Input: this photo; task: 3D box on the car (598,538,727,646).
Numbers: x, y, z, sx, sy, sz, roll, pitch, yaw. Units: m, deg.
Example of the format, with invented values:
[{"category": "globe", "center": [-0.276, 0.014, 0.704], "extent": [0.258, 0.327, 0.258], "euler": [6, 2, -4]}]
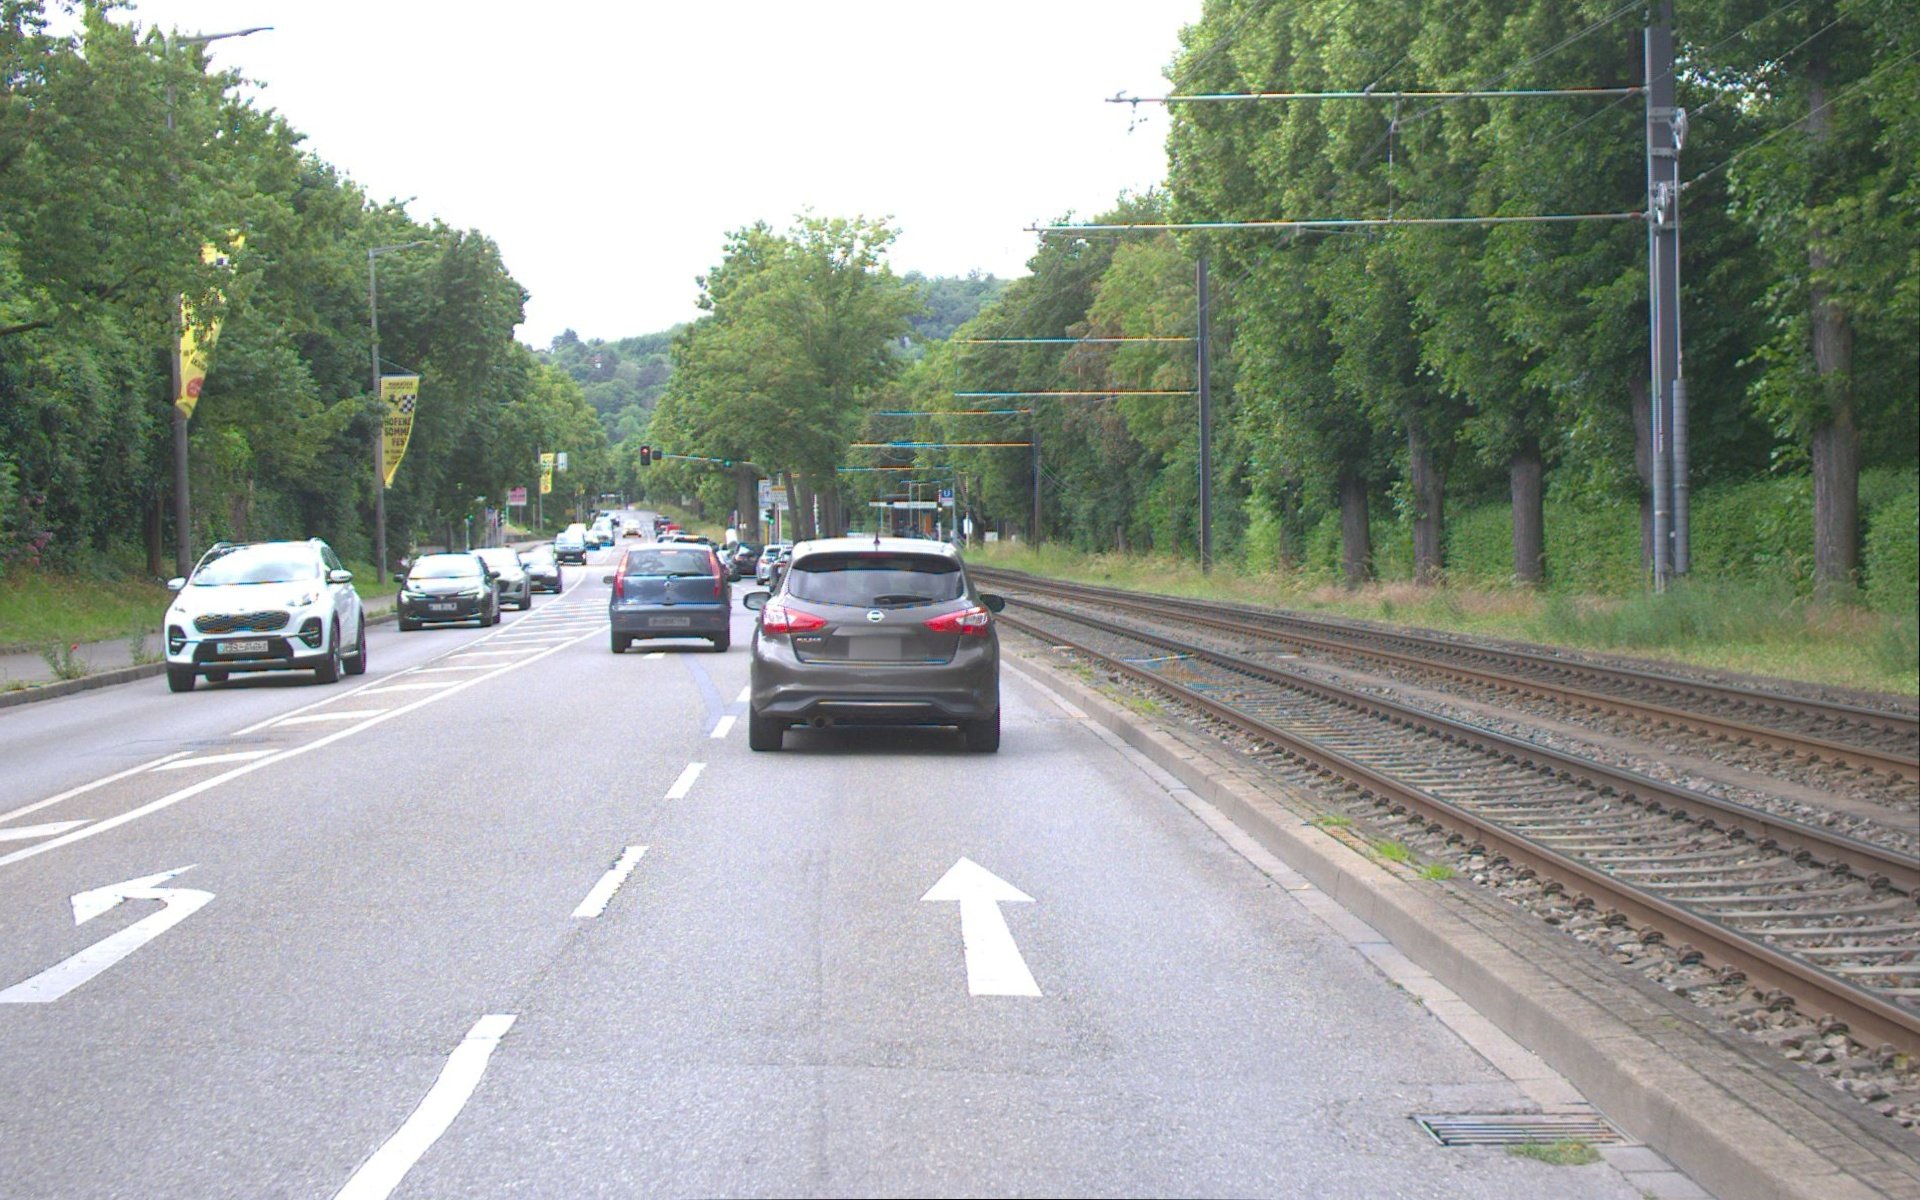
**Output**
[{"category": "car", "center": [-4.111, -0.144, 47.881], "extent": [1.699, 1.438, 4.001], "euler": [0, 1, -4]}]

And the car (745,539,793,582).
[{"category": "car", "center": [-6.975, -1.436, 125.820], "extent": [1.715, 1.545, 4.000], "euler": [0, 0, -2]}]

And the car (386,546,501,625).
[{"category": "car", "center": [-9.967, -0.306, 66.590], "extent": [1.766, 1.395, 4.216], "euler": [-3, 1, -3]}]

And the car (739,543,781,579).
[{"category": "car", "center": [-8.567, -1.661, 147.783], "extent": [1.715, 1.545, 4.000], "euler": [0, 0, -2]}]

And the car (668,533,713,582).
[{"category": "car", "center": [-10.408, -1.614, 132.585], "extent": [1.715, 1.857, 4.001], "euler": [0, 0, -5]}]

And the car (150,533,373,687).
[{"category": "car", "center": [-7.938, 0.078, 39.408], "extent": [1.841, 1.615, 4.160], "euler": [-2, 1, -3]}]

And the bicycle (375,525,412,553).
[{"category": "bicycle", "center": [-23.167, -2.495, 140.662], "extent": [0.499, 1.104, 1.797], "euler": [0, 1, 28]}]

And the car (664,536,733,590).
[{"category": "car", "center": [-7.066, -1.004, 93.151], "extent": [1.715, 1.430, 4.000], "euler": [0, 1, -2]}]

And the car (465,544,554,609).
[{"category": "car", "center": [-10.980, -0.595, 84.051], "extent": [1.826, 1.452, 4.143], "euler": [-3, 1, -4]}]

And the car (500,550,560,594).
[{"category": "car", "center": [-14.439, -0.956, 115.609], "extent": [1.841, 1.371, 4.449], "euler": [-2, 1, -6]}]

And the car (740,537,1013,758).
[{"category": "car", "center": [-0.609, 0.286, 25.464], "extent": [1.850, 1.488, 4.000], "euler": [1, 1, -1]}]

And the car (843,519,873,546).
[{"category": "car", "center": [-6.414, -4.246, 215.998], "extent": [1.715, 1.657, 3.708], "euler": [0, 0, -4]}]

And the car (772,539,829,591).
[{"category": "car", "center": [-4.907, -1.075, 106.323], "extent": [1.715, 1.545, 4.000], "euler": [0, 0, -2]}]

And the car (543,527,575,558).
[{"category": "car", "center": [-23.554, -3.383, 201.965], "extent": [1.715, 1.754, 4.001], "euler": [0, 0, -4]}]
